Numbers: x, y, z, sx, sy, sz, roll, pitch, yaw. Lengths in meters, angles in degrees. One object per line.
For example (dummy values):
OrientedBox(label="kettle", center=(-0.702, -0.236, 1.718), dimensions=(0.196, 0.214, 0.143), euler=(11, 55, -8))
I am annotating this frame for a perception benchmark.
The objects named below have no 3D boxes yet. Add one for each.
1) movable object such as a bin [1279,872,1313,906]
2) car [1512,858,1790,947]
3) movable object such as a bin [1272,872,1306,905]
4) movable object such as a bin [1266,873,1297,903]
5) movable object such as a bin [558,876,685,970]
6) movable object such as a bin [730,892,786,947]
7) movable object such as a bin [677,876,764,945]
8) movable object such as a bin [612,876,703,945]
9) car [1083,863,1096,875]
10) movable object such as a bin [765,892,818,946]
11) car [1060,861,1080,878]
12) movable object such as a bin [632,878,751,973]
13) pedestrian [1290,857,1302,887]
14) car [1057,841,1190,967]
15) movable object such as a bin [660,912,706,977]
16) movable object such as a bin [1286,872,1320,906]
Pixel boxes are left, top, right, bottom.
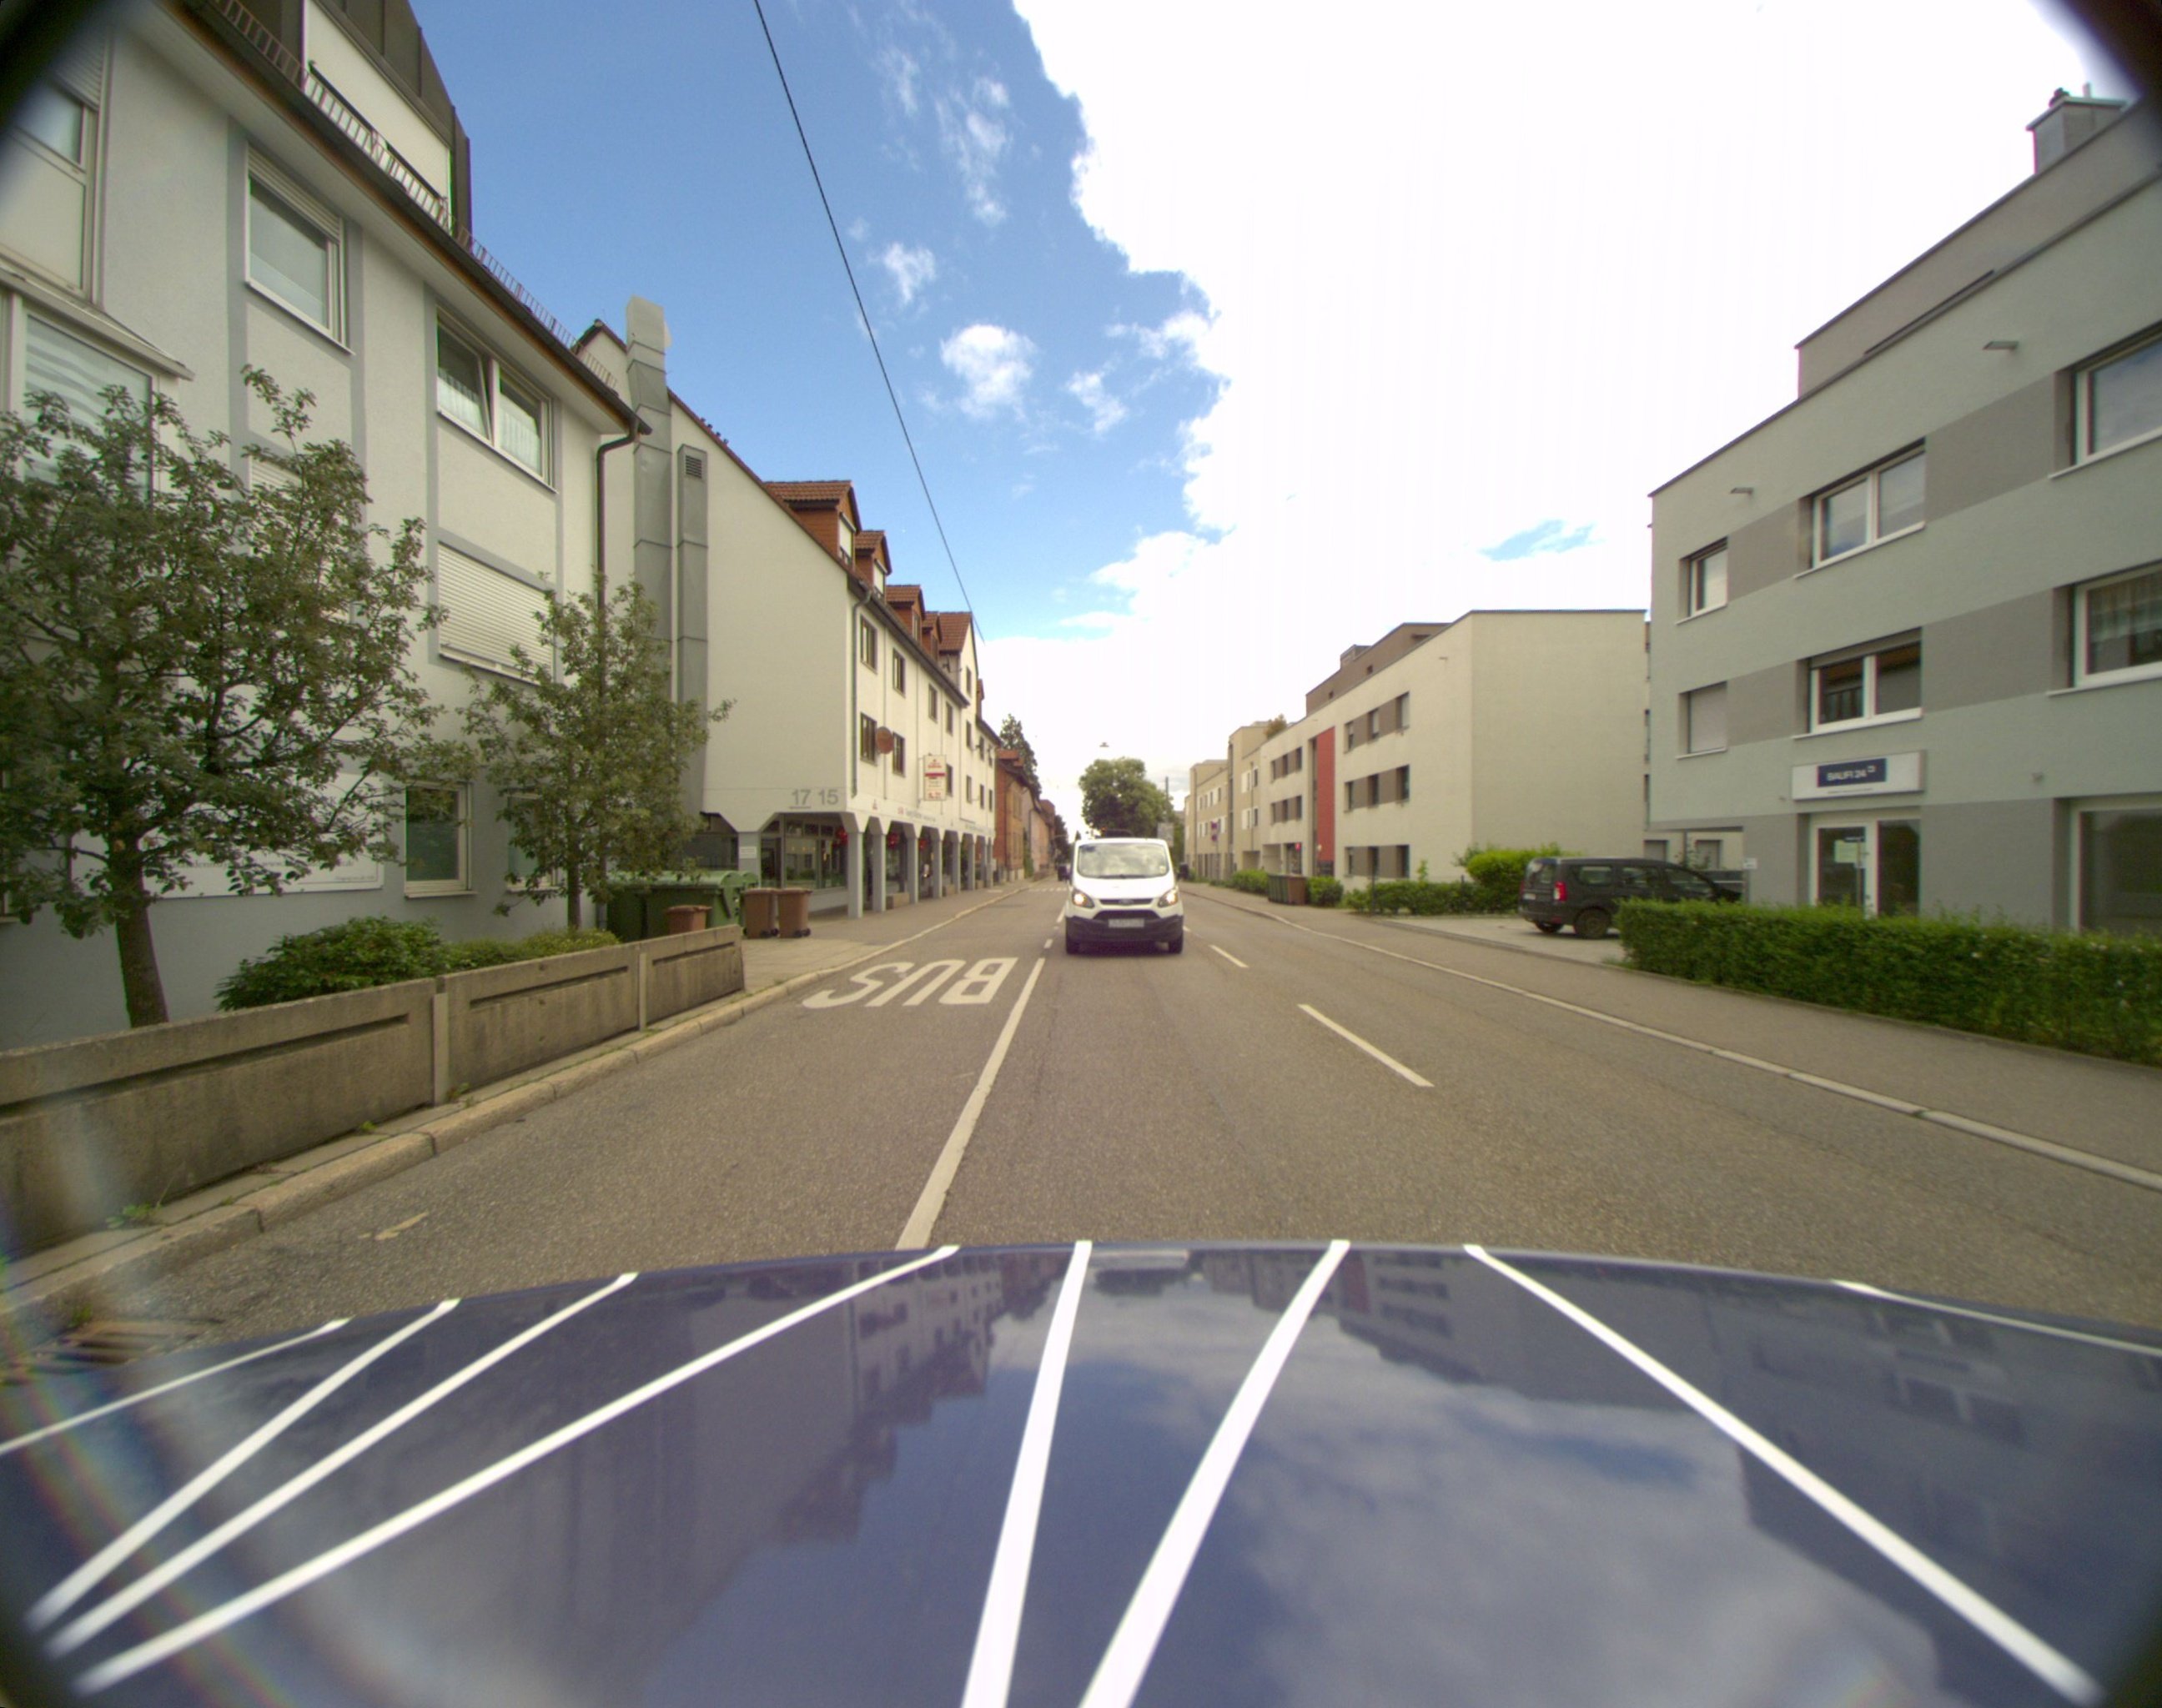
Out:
OrientedBox(label="movable object such as a bin", center=(7.546, 1.227, 26.699), dimensions=(0.951, 1.144, 0.749), euler=(0, 0, -4))
OrientedBox(label="car", center=(11.224, 0.912, 15.209), dimensions=(4.172, 1.658, 1.725), euler=(0, 1, 4))
OrientedBox(label="movable object such as a bin", center=(7.521, 1.242, 27.532), dimensions=(0.959, 1.144, 0.840), euler=(0, 0, -4))
OrientedBox(label="movable object such as a bin", center=(7.503, 1.248, 28.430), dimensions=(0.897, 1.082, 0.792), euler=(0, 0, -4))
OrientedBox(label="movable object such as a bin", center=(-7.513, 1.102, 12.509), dimensions=(1.270, 1.426, 1.307), euler=(0, 0, 1))
OrientedBox(label="movable object such as a bin", center=(-6.814, 1.368, 16.056), dimensions=(0.699, 1.073, 0.972), euler=(0, 0, 5))
OrientedBox(label="movable object such as a bin", center=(-7.763, 1.190, 16.418), dimensions=(1.212, 1.409, 1.260), euler=(0, 0, 5))
OrientedBox(label="movable object such as a bin", center=(-9.130, 1.199, 16.454), dimensions=(1.212, 1.409, 1.260), euler=(0, 0, 5))
OrientedBox(label="car", center=(1.164, 2.015, 102.679), dimensions=(1.755, 1.484, 3.986), euler=(0, 0, 0))
OrientedBox(label="movable object such as a bin", center=(-6.083, 1.352, 16.019), dimensions=(0.685, 1.061, 0.972), euler=(0, 0, 5))
OrientedBox(label="car", center=(-0.981, 1.376, 67.825), dimensions=(1.755, 1.484, 3.986), euler=(0, 0, 0))
OrientedBox(label="movable object such as a bin", center=(-6.162, 1.104, 12.096), dimensions=(1.270, 1.409, 1.162), euler=(0, 0, 1))
OrientedBox(label="pedestrian", center=(11.573, 0.960, 40.887), dimensions=(0.519, 1.633, 0.641), euler=(0, 0, 23))
OrientedBox(label="car", center=(0.667, 0.784, 14.351), dimensions=(2.062, 1.945, 5.060), euler=(0, 0, 0))
OrientedBox(label="movable object such as a bin", center=(-5.904, 1.329, 11.280), dimensions=(0.431, 0.915, 0.465), euler=(0, 0, 1))
OrientedBox(label="movable object such as a bin", center=(7.593, 1.190, 25.996), dimensions=(0.943, 1.144, 0.612), euler=(0, 0, -4))
